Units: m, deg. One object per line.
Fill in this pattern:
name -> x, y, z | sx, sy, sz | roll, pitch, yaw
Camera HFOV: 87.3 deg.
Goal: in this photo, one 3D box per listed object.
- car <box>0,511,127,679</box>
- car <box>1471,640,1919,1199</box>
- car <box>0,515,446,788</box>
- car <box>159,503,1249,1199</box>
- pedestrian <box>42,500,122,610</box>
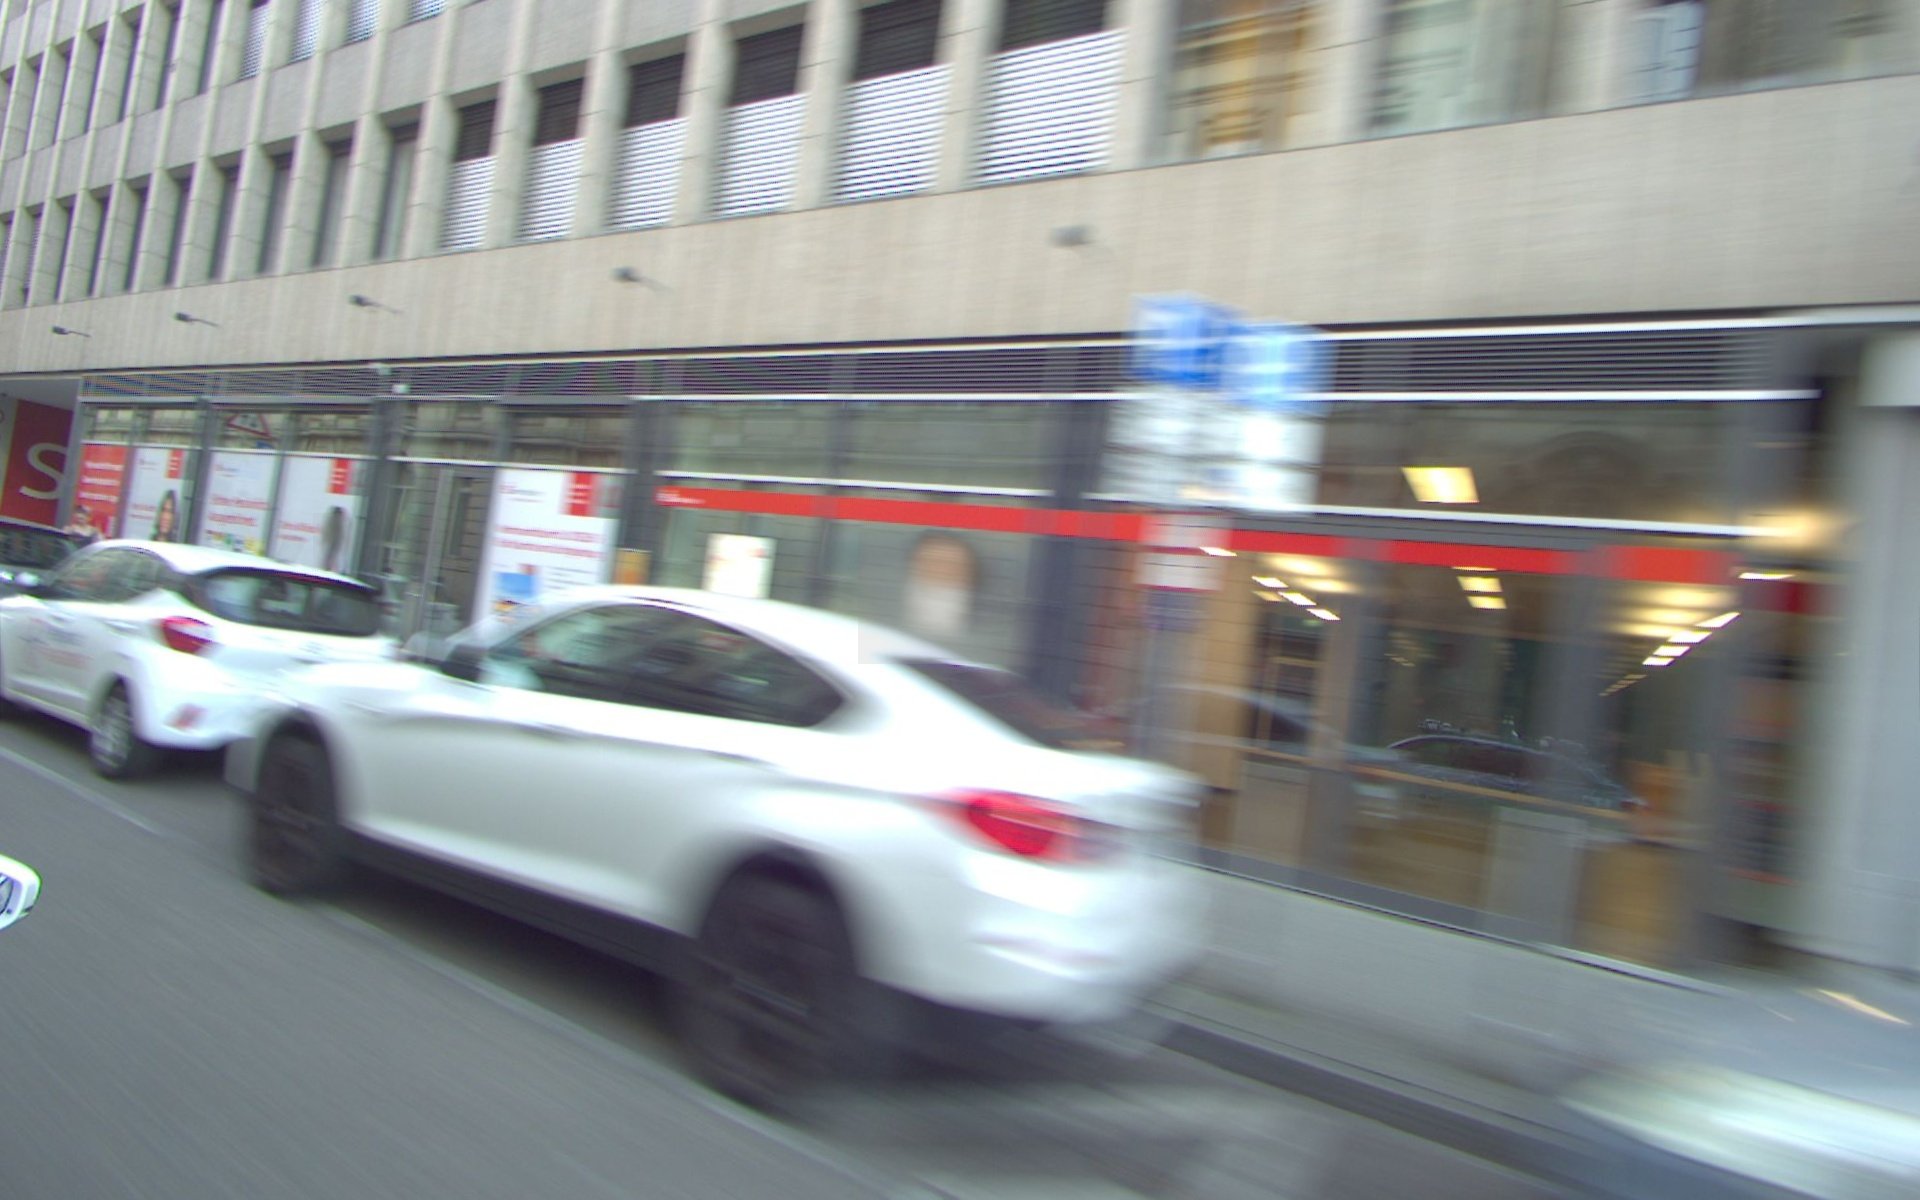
car -> -10.585, -0.263, 10.234 | 4.370, 1.463, 1.662 | 6, -4, 30
car -> 3.555, 1.258, 1.718 | 4.635, 1.614, 1.746 | 7, -4, 31
car -> -5.857, 0.310, 7.571 | 3.805, 1.463, 1.662 | 6, -4, 32
car -> -1.352, 0.694, 4.618 | 4.731, 1.683, 1.782 | 6, -4, 29
pedestrian -> -14.135, -0.715, 16.201 | 0.639, 1.655, 0.649 | 7, 0, 30
